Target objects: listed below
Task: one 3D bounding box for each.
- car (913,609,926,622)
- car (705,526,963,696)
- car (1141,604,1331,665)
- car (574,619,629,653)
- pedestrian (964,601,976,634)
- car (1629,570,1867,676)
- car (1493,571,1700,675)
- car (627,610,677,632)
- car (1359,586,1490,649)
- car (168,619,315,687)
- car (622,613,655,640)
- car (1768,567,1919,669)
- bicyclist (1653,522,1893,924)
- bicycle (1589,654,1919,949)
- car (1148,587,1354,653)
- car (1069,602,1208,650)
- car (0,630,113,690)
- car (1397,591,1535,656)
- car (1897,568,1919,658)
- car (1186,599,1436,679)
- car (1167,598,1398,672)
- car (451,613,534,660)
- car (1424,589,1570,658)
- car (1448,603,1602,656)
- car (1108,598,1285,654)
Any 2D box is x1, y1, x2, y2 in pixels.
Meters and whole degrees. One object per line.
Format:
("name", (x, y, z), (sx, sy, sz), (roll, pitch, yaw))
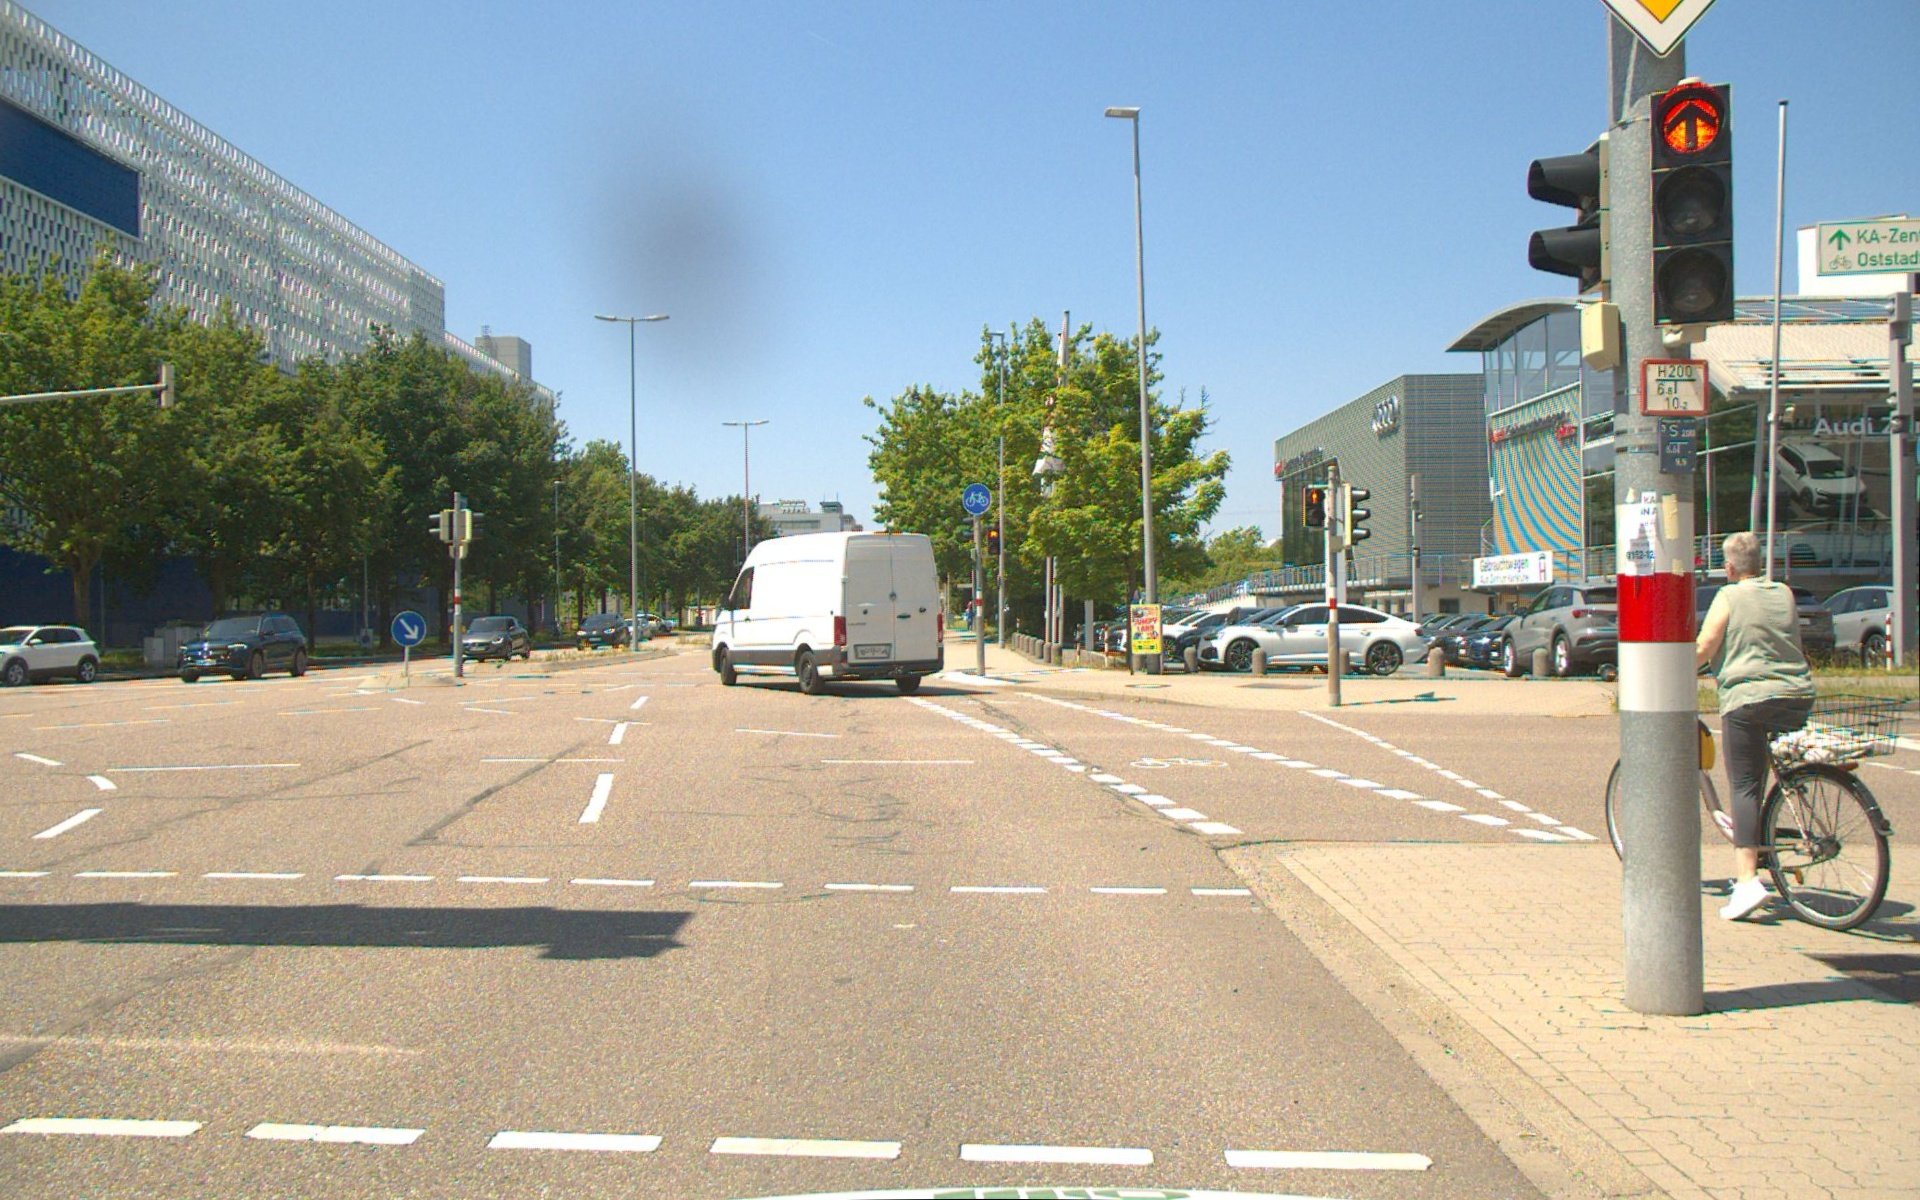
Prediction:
("car", (-5.455, 2.100, 224.401), (1.736, 1.758, 3.999), (-1, -1, -1))
("car", (-2.293, 0.188, 28.065), (2.074, 2.578, 5.740), (0, -1, -31))
("car", (7.265, 0.893, 43.865), (4.646, 1.482, 1.999), (-1, 0, -3))
("car", (-15.872, 1.565, 73.360), (1.650, 1.436, 3.664), (-1, -1, -1))
("pedestrian", (0.610, 1.088, 101.940), (0.649, 1.998, 0.759), (-1, 0, -1))
("car", (13.687, 0.353, 29.068), (1.953, 1.668, 4.557), (-1, 0, -1))
("car", (11.085, 0.364, 29.151), (1.953, 1.668, 4.267), (-1, 0, -1))
("car", (-27.671, 1.882, 148.510), (3.930, 1.842, 2.002), (1, 0, 14))
("car", (15.971, 0.587, 57.020), (3.905, 2.049, 2.000), (-1, 0, 0))
("car", (-18.306, 1.312, 42.376), (1.837, 1.626, 4.495), (-1, -1, -1))
("car", (-20.633, 1.666, 106.207), (1.617, 1.682, 4.159), (-1, 0, -5))
("car", (16.479, 0.259, 29.424), (1.953, 1.668, 4.440), (-1, 0, -1))
("bicyclist", (3.782, 0.546, 7.745), (0.719, 1.779, 0.753), (0, 0, -5))
("bicycle", (3.800, 0.869, 7.863), (0.771, 1.147, 1.919), (0, 0, -4))
("car", (6.983, 0.466, 40.027), (4.643, 1.482, 2.000), (-1, 0, 1))
("car", (6.331, 0.911, 58.900), (4.646, 1.482, 1.999), (-2, 0, -3))
("car", (-24.831, 1.593, 44.247), (1.587, 1.483, 4.073), (-1, -1, 14))
("car", (16.667, 0.767, 54.614), (3.905, 2.049, 2.000), (-1, 0, 0))
("car", (18.846, 0.230, 29.294), (1.847, 1.668, 4.524), (-1, 0, -1))
("car", (6.998, 0.771, 33.342), (4.643, 1.482, 2.000), (-1, 0, 1))
("car", (6.929, 0.761, 35.942), (4.643, 1.482, 2.000), (-1, -1, 1))
("car", (-15.298, 1.170, 54.305), (1.697, 1.452, 3.705), (-2, -1, -1))
("car", (16.777, 0.724, 51.800), (3.905, 2.049, 2.000), (-1, 0, 0))
("car", (16.862, 0.875, 49.459), (4.008, 1.486, 1.719), (-1, 0, 0))
("car", (6.618, 0.713, 46.638), (4.646, 1.482, 1.999), (-1, 0, -3))
